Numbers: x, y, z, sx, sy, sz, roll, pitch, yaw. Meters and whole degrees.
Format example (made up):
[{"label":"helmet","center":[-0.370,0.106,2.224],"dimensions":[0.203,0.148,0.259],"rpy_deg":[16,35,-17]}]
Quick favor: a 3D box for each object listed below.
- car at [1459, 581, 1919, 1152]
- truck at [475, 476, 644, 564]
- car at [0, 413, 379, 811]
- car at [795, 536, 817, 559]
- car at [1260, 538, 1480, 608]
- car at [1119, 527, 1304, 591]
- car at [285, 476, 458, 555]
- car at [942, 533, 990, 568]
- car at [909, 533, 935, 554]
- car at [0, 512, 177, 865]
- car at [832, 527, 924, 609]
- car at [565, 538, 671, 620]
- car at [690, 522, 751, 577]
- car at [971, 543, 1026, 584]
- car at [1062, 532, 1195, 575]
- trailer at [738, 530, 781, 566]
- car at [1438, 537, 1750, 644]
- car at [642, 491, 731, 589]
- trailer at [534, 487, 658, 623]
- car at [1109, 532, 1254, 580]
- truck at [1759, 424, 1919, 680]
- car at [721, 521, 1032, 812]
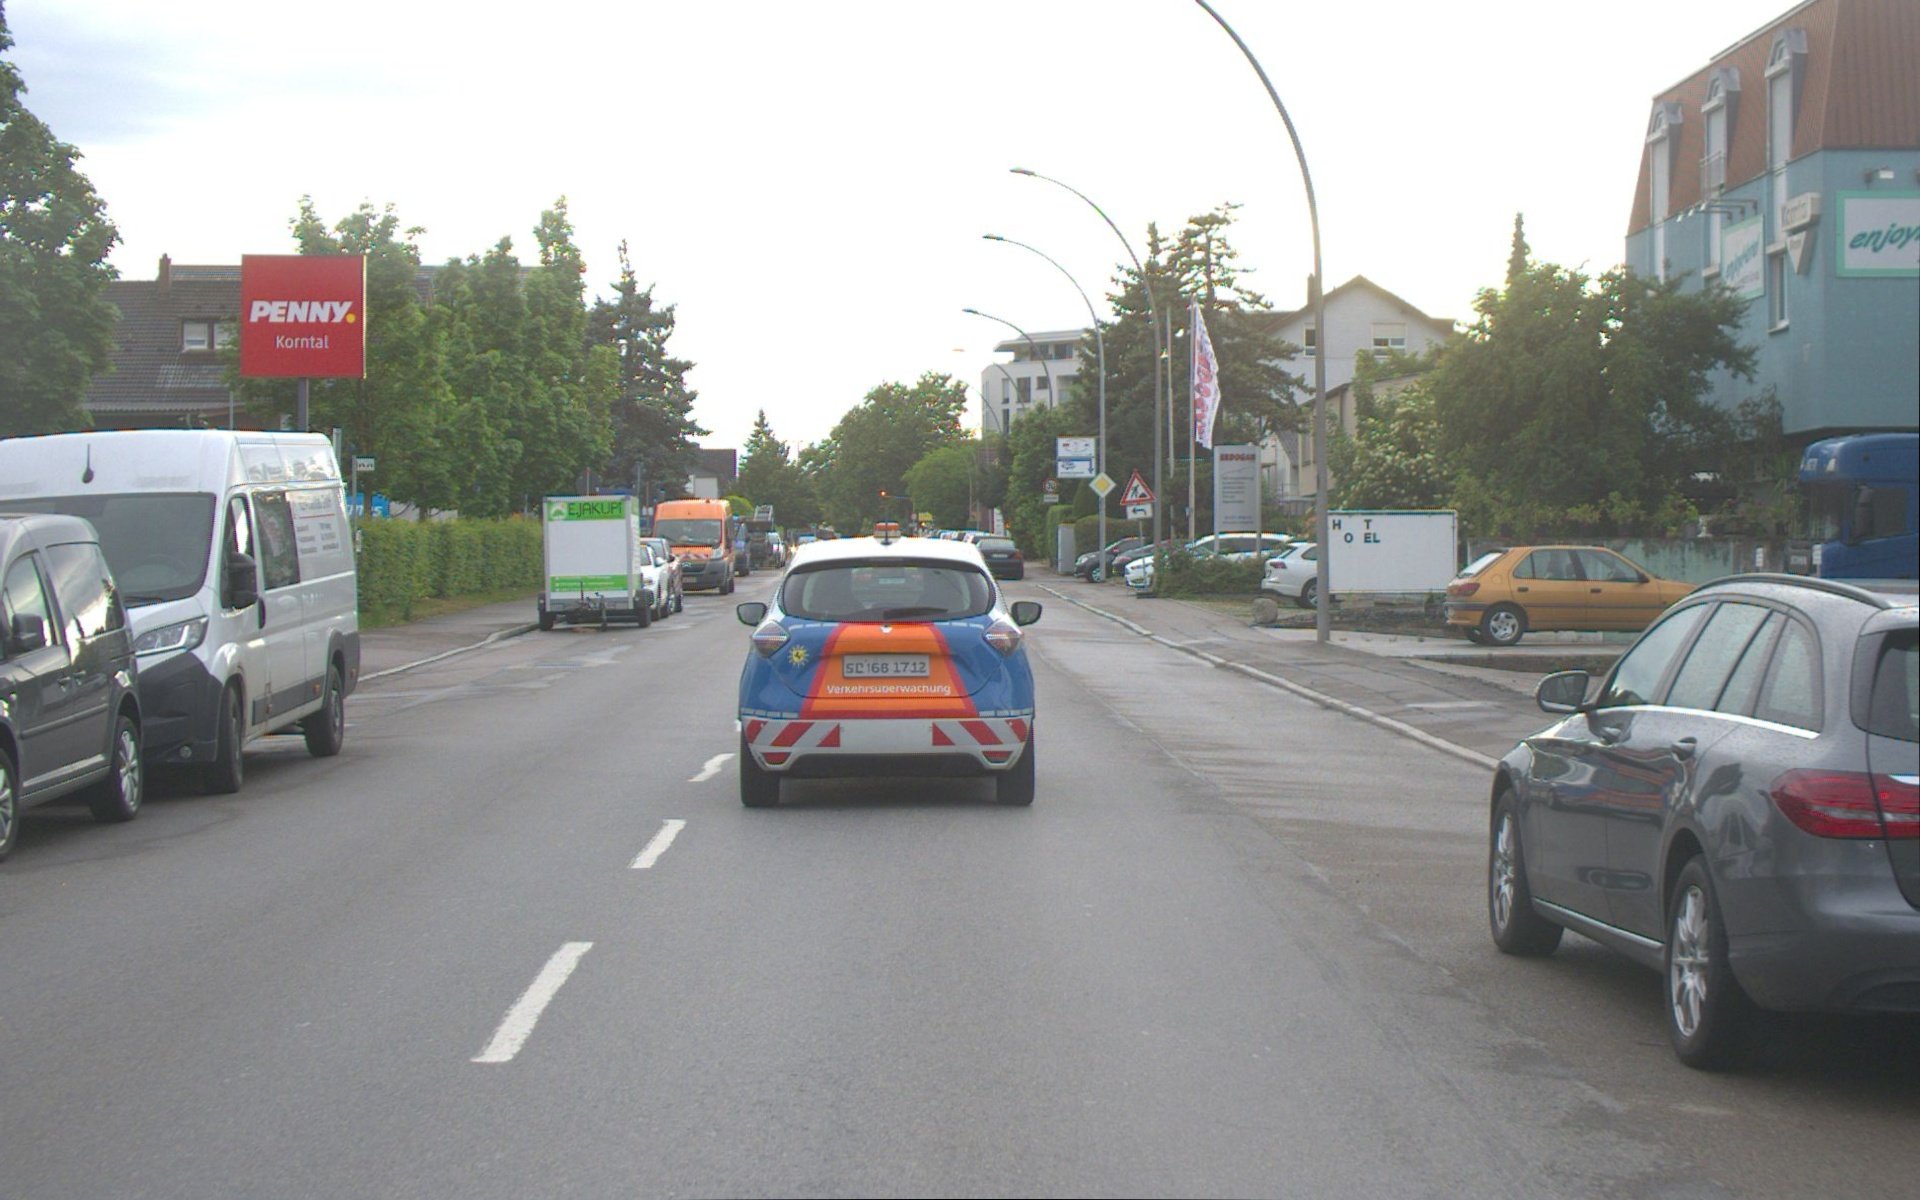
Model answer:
[{"label":"car","center":[2.904,0.704,11.313],"dimensions":[1.738,1.461,4.546],"rpy_deg":[1,1,-1]},{"label":"truck","center":[-14.696,-2.919,126.410],"dimensions":[5.911,3.063,2.450],"rpy_deg":[1,1,0]},{"label":"car","center":[-5.801,0.035,24.708],"dimensions":[2.158,2.418,6.460],"rpy_deg":[-3,1,-1]},{"label":"car","center":[-10.176,-3.480,227.206],"dimensions":[1.386,1.478,3.784],"rpy_deg":[0,1,-3]},{"label":"car","center":[8.758,-0.587,73.637],"dimensions":[4.415,1.388,1.880],"rpy_deg":[1,1,-2]},{"label":"car","center":[6.134,-1.004,84.168],"dimensions":[4.337,1.470,1.903],"rpy_deg":[1,1,-2]},{"label":"car","center":[-15.904,-2.277,93.008],"dimensions":[4.306,2.007,2.063],"rpy_deg":[1,1,-1]},{"label":"car","center":[0.243,-2.121,146.379],"dimensions":[1.711,1.433,4.527],"rpy_deg":[1,1,-4]},{"label":"car","center":[-2.756,-4.062,248.504],"dimensions":[1.650,1.478,4.001],"rpy_deg":[1,1,-3]},{"label":"car","center":[-5.728,0.470,18.921],"dimensions":[1.769,1.762,4.446],"rpy_deg":[-3,1,-1]},{"label":"car","center":[-1.633,-0.637,67.459],"dimensions":[1.650,1.516,4.001],"rpy_deg":[1,1,-3]},{"label":"car","center":[-6.621,-0.435,66.921],"dimensions":[1.772,1.493,4.137],"rpy_deg":[0,2,-2]},{"label":"car","center":[-8.610,-1.840,123.998],"dimensions":[1.993,1.940,5.366],"rpy_deg":[0,1,-2]},{"label":"car","center":[1.263,-1.227,114.219],"dimensions":[1.589,1.336,4.093],"rpy_deg":[0,1,-3]},{"label":"car","center":[5.325,-1.463,108.998],"dimensions":[3.986,1.262,1.951],"rpy_deg":[1,1,-3]},{"label":"trailer","center":[-8.217,-2.160,141.190],"dimensions":[1.717,1.256,5.245],"rpy_deg":[1,3,-3]},{"label":"car","center":[8.775,-0.145,47.791],"dimensions":[3.986,1.425,1.631],"rpy_deg":[0,1,-2]},{"label":"car","center":[-7.279,-1.634,92.010],"dimensions":[2.124,2.529,6.023],"rpy_deg":[0,1,-2]},{"label":"trailer","center":[-6.536,-0.839,62.137],"dimensions":[1.812,2.306,4.731],"rpy_deg":[-2,1,-2]},{"label":"car","center":[6.246,-1.236,97.334],"dimensions":[3.987,1.262,1.951],"rpy_deg":[1,1,1]},{"label":"truck","center":[14.576,-0.643,51.745],"dimensions":[4.143,3.661,2.720],"rpy_deg":[3,0,-3]},{"label":"car","center":[-0.525,0.351,20.930],"dimensions":[1.731,1.625,3.495],"rpy_deg":[0,1,-2]}]
